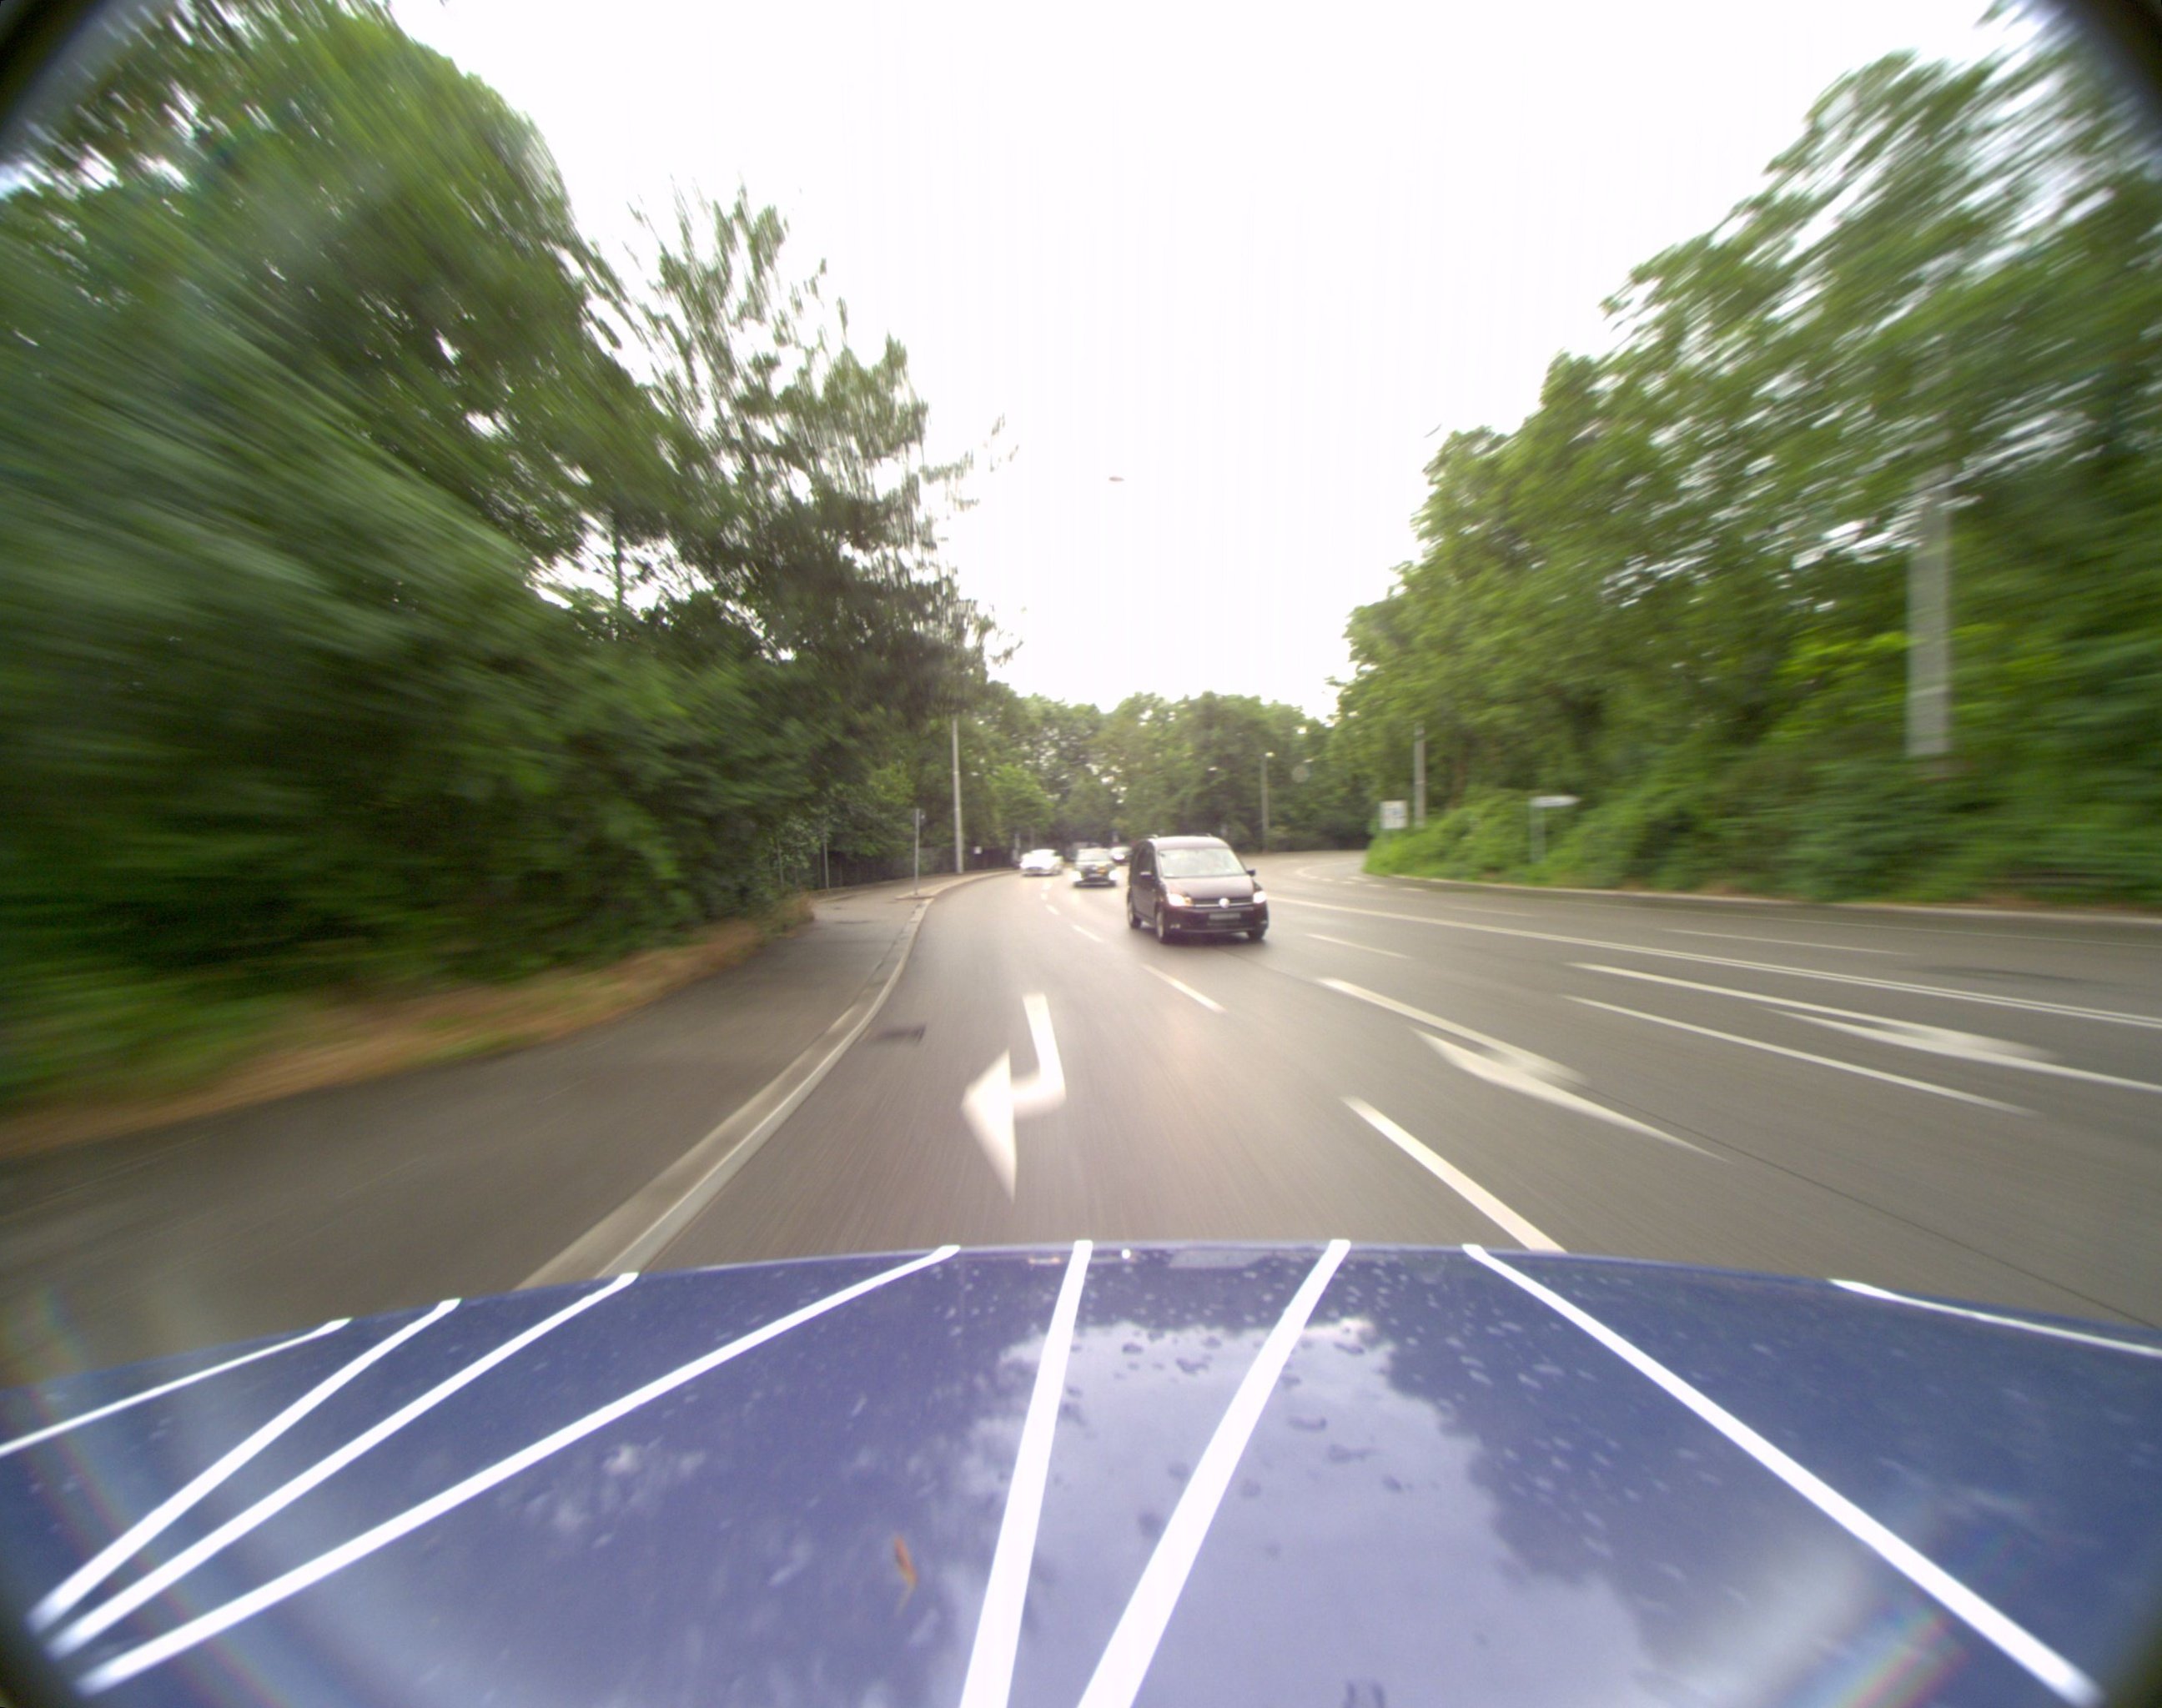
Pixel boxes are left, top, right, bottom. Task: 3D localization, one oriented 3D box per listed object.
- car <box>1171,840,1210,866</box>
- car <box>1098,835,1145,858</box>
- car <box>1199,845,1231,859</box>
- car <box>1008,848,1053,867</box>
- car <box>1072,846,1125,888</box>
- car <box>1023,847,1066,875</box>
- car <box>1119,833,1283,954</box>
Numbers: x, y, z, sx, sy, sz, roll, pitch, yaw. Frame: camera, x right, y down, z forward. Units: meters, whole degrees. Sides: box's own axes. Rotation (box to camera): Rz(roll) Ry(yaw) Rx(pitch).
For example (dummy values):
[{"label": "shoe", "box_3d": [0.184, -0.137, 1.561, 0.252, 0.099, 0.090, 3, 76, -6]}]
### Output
[{"label": "car", "box_3d": [8.151, -0.083, 56.398, 1.996, 1.735, 4.660, -1, 2, 19]}, {"label": "car", "box_3d": [3.339, -0.616, 62.625, 1.994, 1.735, 4.007, 0, 2, 35]}, {"label": "car", "box_3d": [13.708, -0.235, 77.718, 3.112, 1.325, 1.578, -3, 2, -41]}, {"label": "car", "box_3d": [-4.217, 0.261, 64.197, 1.874, 1.368, 4.180, -5, -1, 24]}, {"label": "car", "box_3d": [0.796, 0.483, 31.574, 1.929, 1.532, 4.001, -2, 1, 5]}, {"label": "car", "box_3d": [-2.112, 0.383, 44.754, 1.794, 1.445, 4.001, -1, 2, 8]}, {"label": "car", "box_3d": [1.948, 0.592, 13.667, 1.796, 1.789, 4.122, -2, 1, -7]}]
